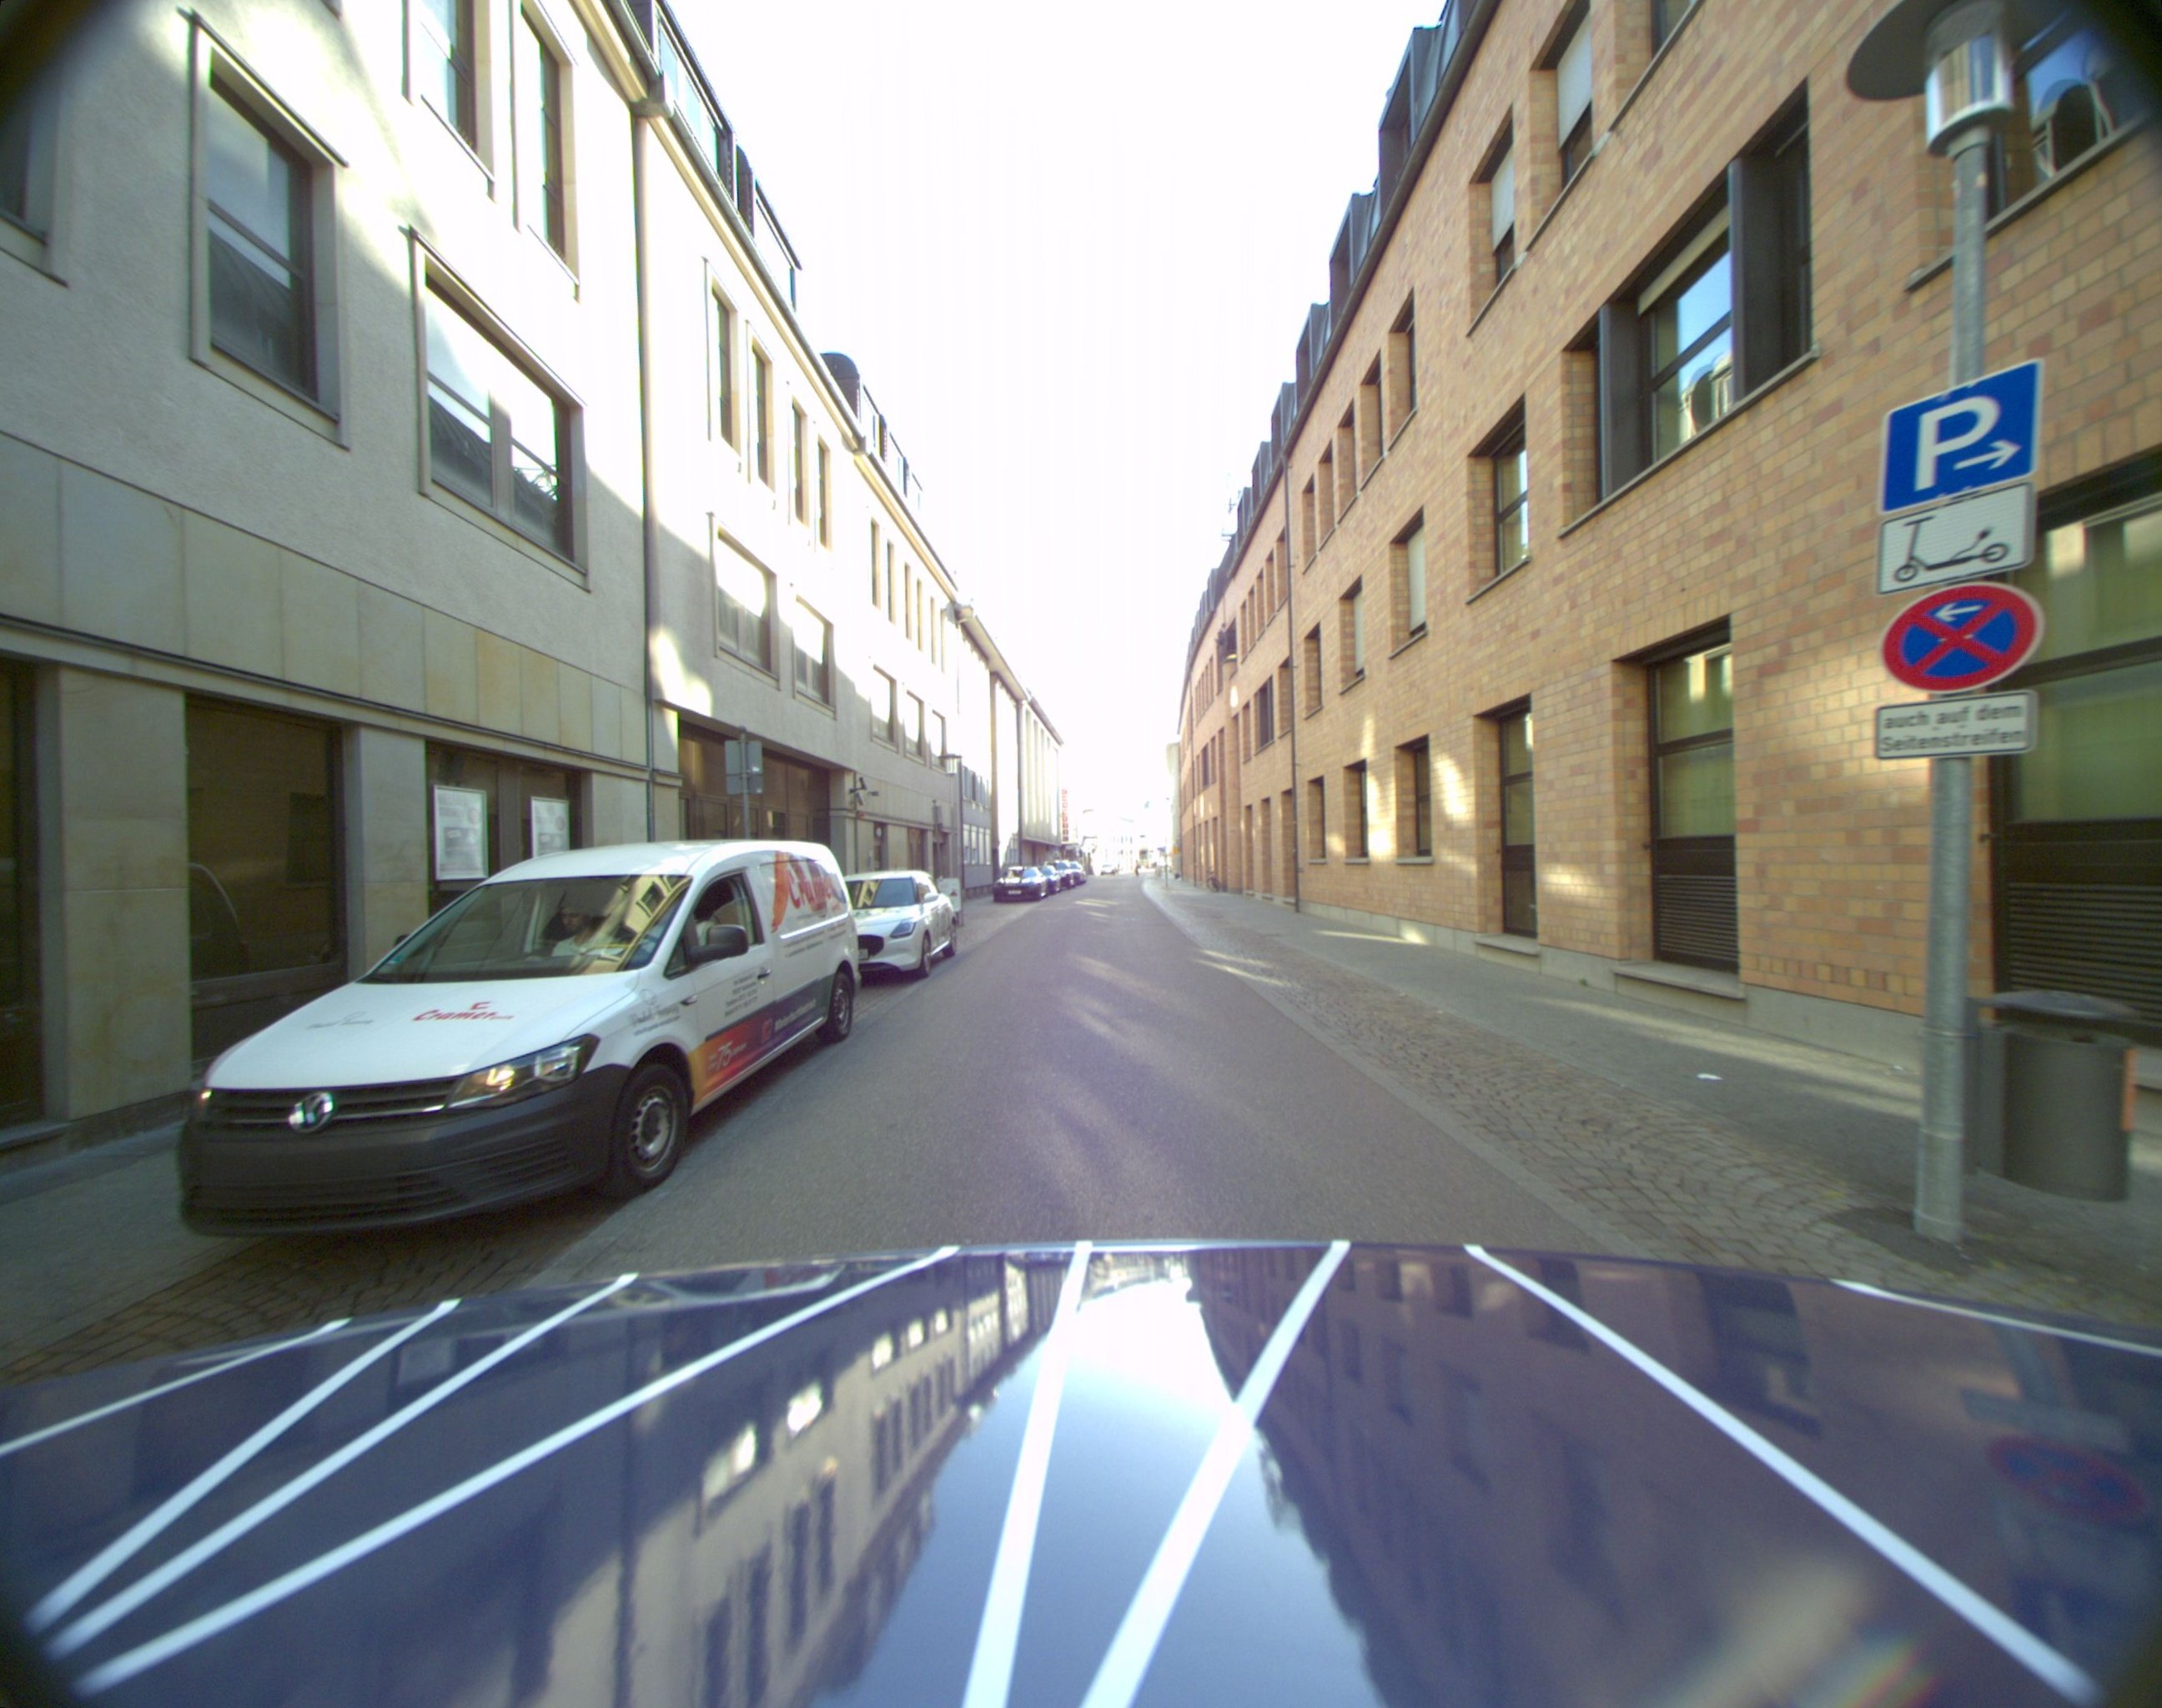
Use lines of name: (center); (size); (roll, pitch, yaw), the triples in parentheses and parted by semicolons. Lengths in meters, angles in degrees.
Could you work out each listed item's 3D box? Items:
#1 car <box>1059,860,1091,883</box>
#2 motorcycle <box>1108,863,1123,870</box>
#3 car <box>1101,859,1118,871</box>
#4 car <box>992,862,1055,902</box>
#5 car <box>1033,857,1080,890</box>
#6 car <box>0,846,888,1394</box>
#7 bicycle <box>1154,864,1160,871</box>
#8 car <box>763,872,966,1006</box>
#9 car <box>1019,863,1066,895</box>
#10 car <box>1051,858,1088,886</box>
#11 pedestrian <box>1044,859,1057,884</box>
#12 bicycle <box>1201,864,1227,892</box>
car: (-0.398, 1.302, 57.565); (1.827, 1.496, 4.602); (-4, -1, 5)
motorcycle: (4.943, 1.788, 108.841); (1.995, 0.950, 0.646); (-2, 0, 19)
car: (3.737, 1.431, 97.776); (1.846, 1.453, 4.001); (-3, 0, 6)
car: (-2.369, 1.145, 32.595); (1.898, 1.444, 5.227); (-3, 0, 4)
car: (-1.356, 1.094, 44.775); (2.108, 1.775, 5.054); (-3, 0, 5)
car: (-2.916, 0.906, 5.178); (1.835, 1.780, 5.213); (-2, 0, -1)
bicycle: (13.210, 2.313, 131.557); (0.651, 1.125, 1.738); (3, 1, 18)
car: (-2.990, 1.103, 11.485); (1.845, 1.469, 4.168); (-4, 0, -1)
car: (-1.897, 1.221, 38.613); (1.811, 1.404, 4.791); (-4, 0, 3)
car: (-0.742, 1.205, 52.190); (1.998, 1.692, 4.845); (-4, 0, 5)
pedestrian: (-2.139, 1.231, 53.606); (0.790, 1.711, 0.747); (1, 0, 4)
bicycle: (5.952, 1.060, 34.013); (0.633, 1.155, 1.803); (-4, 0, -5)
